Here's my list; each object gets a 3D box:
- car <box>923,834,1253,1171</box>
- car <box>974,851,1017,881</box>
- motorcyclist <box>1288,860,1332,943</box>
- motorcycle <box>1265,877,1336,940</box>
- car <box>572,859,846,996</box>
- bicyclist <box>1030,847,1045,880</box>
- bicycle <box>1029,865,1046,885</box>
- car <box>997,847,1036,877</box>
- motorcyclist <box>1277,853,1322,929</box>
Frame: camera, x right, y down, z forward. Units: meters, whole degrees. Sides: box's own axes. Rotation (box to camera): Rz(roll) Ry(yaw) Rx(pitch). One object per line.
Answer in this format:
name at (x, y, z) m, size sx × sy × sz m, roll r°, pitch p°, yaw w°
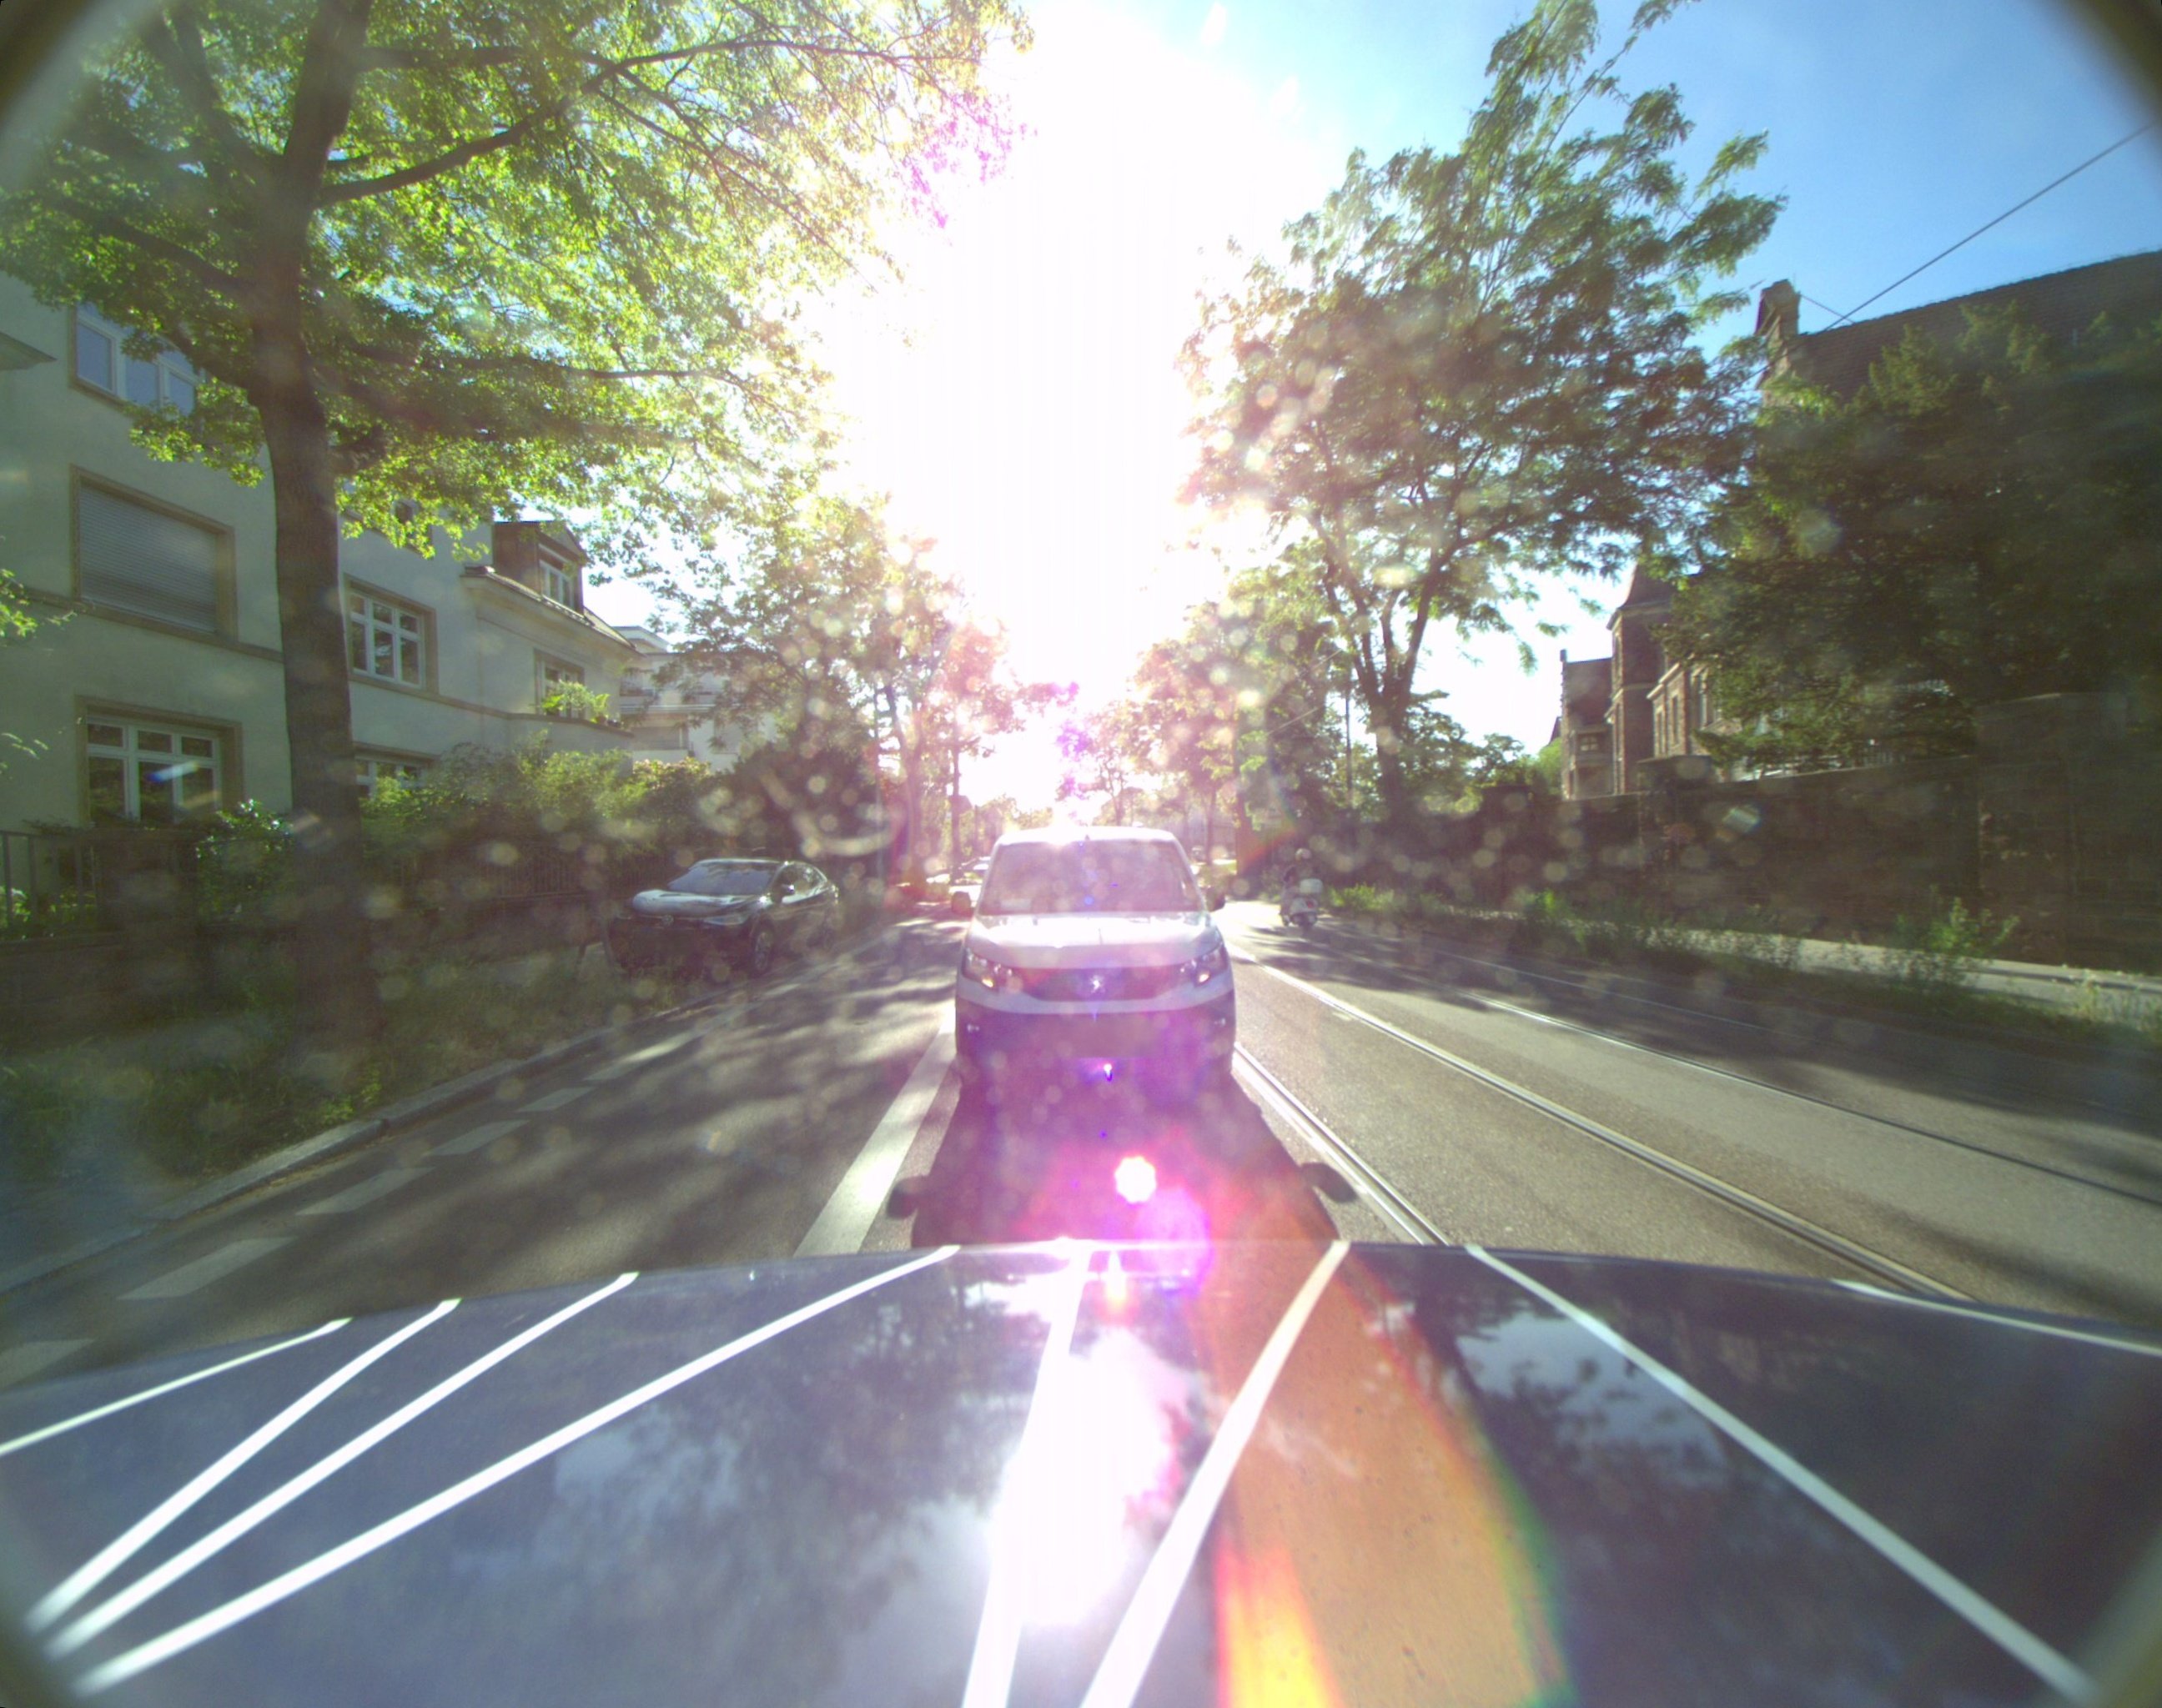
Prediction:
car at (0.032, 0.803, 6.131) m, size 1.768 × 1.812 × 3.999 m, roll -1°, pitch 0°, yaw 0°
car at (-5.044, 0.673, 45.212) m, size 1.823 × 1.630 × 4.001 m, roll -2°, pitch 0°, yaw 4°
motorcyclist at (4.319, 0.881, 14.346) m, size 0.608 × 1.507 × 0.465 m, roll -2°, pitch 1°, yaw -9°
motorcycle at (4.249, 1.025, 14.855) m, size 0.611 × 1.087 × 1.855 m, roll -2°, pitch 0°, yaw -8°
car at (-5.252, 0.939, 11.538) m, size 1.999 × 1.665 × 4.380 m, roll 1°, pitch -1°, yaw 0°
bicyclist at (-2.203, 0.466, 38.305) m, size 0.677 × 1.648 × 0.745 m, roll -2°, pitch 1°, yaw 1°
bicycle at (-2.195, 1.031, 38.265) m, size 0.677 × 0.920 × 1.885 m, roll -2°, pitch 0°, yaw 1°
car at (-4.360, 0.517, 51.772) m, size 2.129 × 1.884 × 4.746 m, roll -2°, pitch 0°, yaw 1°
motorcyclist at (4.243, 0.711, 14.796) m, size 0.686 × 1.432 × 0.446 m, roll -2°, pitch 1°, yaw -9°
